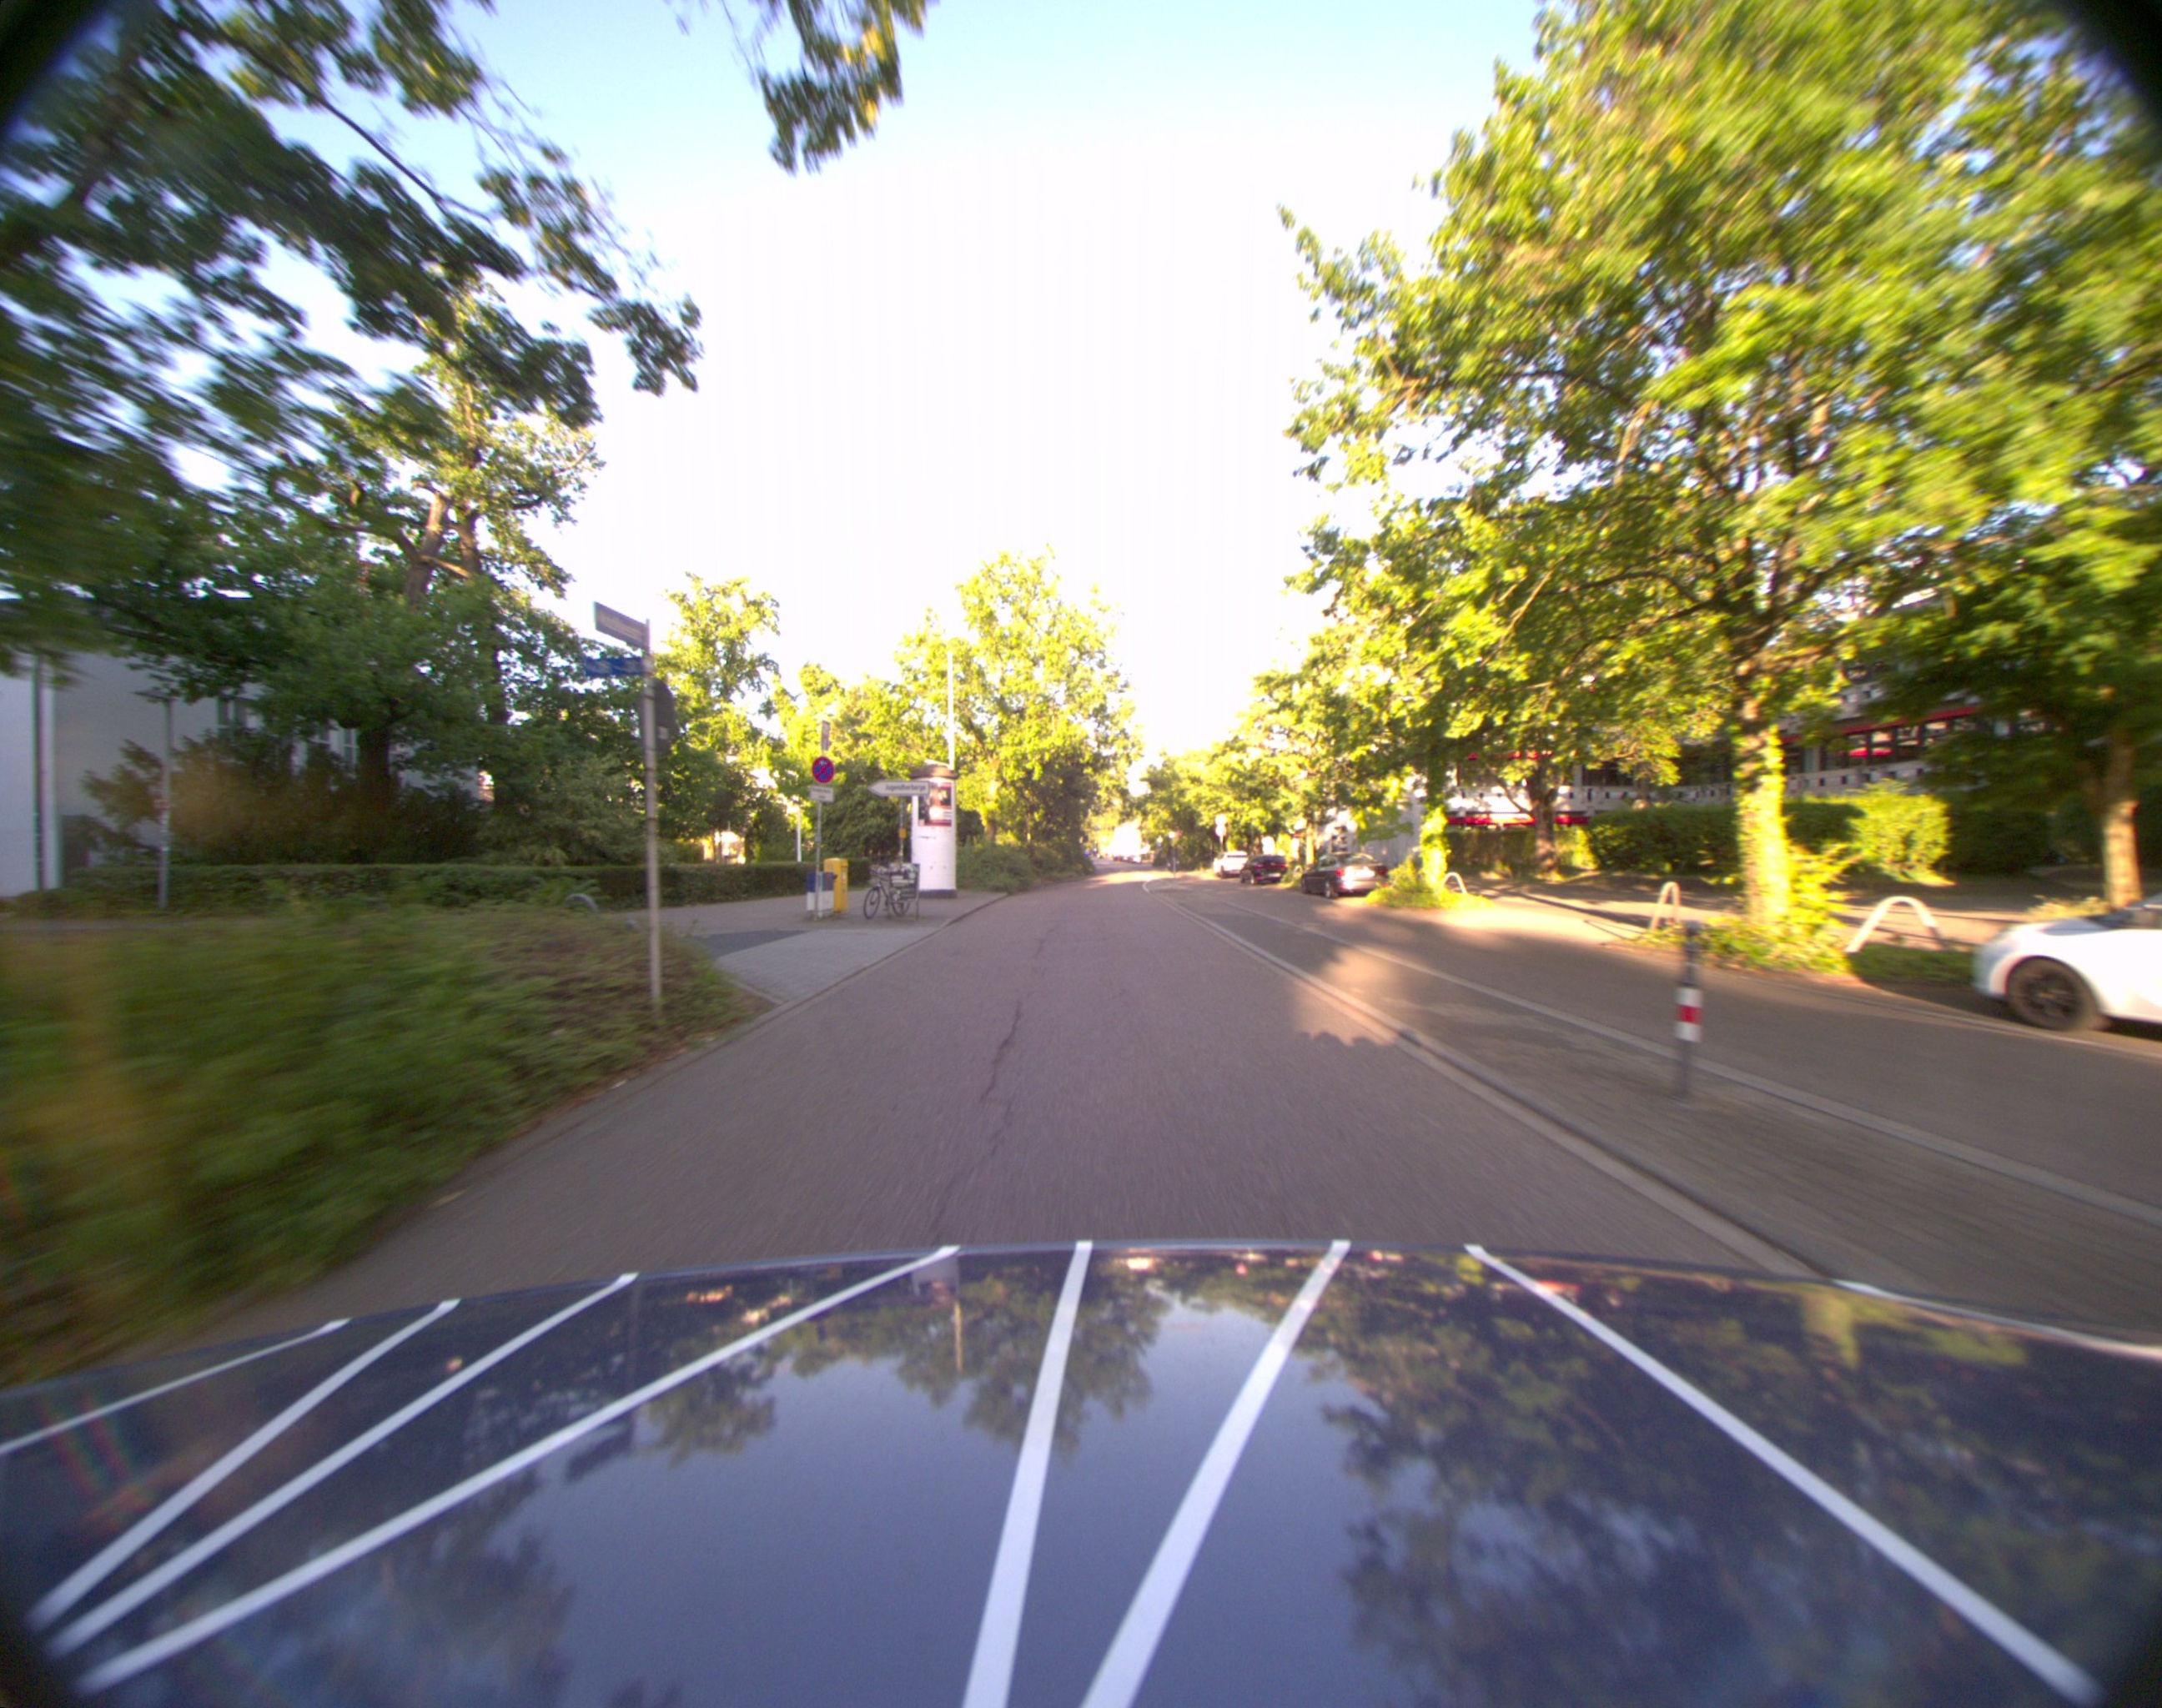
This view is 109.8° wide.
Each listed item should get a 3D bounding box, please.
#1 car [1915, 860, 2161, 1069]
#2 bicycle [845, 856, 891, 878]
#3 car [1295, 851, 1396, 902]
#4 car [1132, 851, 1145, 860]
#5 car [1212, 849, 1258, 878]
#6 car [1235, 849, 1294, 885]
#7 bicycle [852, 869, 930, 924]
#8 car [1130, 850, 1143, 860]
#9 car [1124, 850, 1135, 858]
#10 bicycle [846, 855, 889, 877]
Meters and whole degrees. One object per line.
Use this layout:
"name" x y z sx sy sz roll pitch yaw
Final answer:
"car" 8.785 0.835 5.304 1.622 1.487 3.924 -1 0 0
"bicycle" -12.128 0.724 43.286 2.452 1.214 0.750 -1 1 -16
"car" 8.825 0.677 25.824 1.807 1.502 4.862 -1 1 1
"car" 9.266 0.220 121.890 1.776 1.474 4.108 -2 0 0
"car" 8.967 0.523 44.571 1.808 1.607 4.146 0 1 0
"car" 8.777 0.577 36.626 1.784 1.607 4.146 -1 1 0
"bicycle" -4.316 0.933 17.470 0.493 1.141 2.289 3 0 20
"car" 9.312 0.113 128.135 1.776 1.559 4.108 -2 0 0
"car" 9.663 0.064 151.793 1.776 1.559 4.108 -2 0 0
"bicycle" -12.632 0.698 45.016 2.452 1.291 0.750 -1 1 -16
